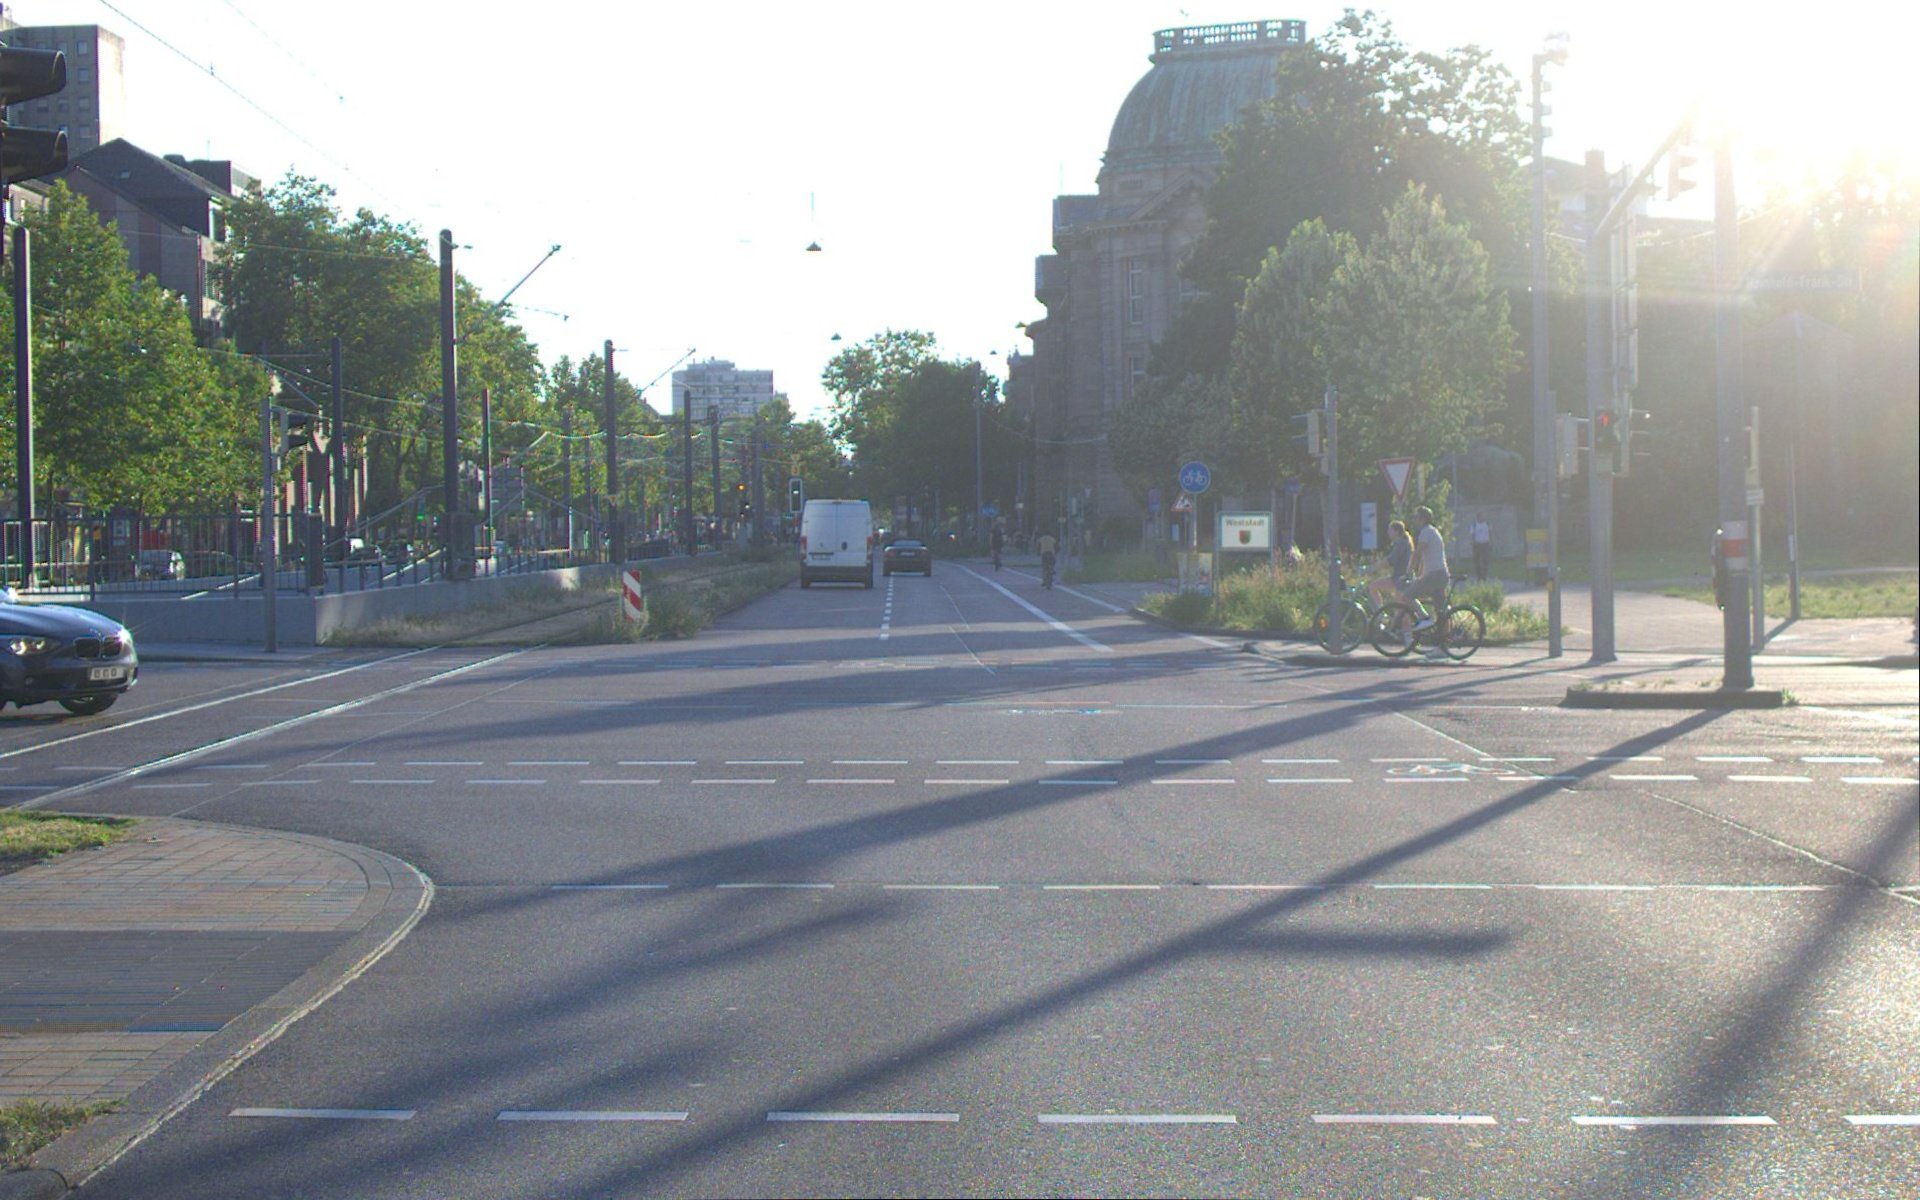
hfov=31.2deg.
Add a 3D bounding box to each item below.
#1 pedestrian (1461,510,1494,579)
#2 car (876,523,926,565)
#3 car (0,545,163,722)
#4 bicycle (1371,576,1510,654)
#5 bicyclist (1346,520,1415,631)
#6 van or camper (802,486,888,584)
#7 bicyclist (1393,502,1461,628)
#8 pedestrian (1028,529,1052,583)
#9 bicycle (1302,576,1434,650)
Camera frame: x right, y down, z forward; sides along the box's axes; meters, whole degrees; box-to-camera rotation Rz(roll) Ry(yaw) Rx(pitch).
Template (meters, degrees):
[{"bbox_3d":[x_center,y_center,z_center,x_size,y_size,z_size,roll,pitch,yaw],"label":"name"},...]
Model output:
[{"bbox_3d":[12.367,-1.326,82.143,0.682,1.605,0.613,-1,2,0],"label":"pedestrian"},{"bbox_3d":[-2.096,-2.035,123.597,1.737,1.381,4.001,-1,2,0],"label":"car"},{"bbox_3d":[-9.121,0.287,29.948,3.992,1.429,1.716,-1,2,24],"label":"car"},{"bbox_3d":[6.110,0.188,43.793,1.728,0.966,0.609,0,2,5],"label":"bicycle"},{"bbox_3d":[5.579,-0.331,45.663,0.853,1.437,0.663,-1,2,4],"label":"bicyclist"},{"bbox_3d":[-3.223,-1.875,97.392,2.263,2.616,4.503,-1,2,0],"label":"van or camper"},{"bbox_3d":[5.946,-0.448,43.783,0.797,1.566,0.663,-1,2,5],"label":"bicyclist"},{"bbox_3d":[2.244,-1.243,96.309,0.616,1.470,0.800,-1,2,4],"label":"pedestrian"},{"bbox_3d":[5.416,0.170,45.688,1.718,0.966,0.609,0,2,4],"label":"bicycle"}]
